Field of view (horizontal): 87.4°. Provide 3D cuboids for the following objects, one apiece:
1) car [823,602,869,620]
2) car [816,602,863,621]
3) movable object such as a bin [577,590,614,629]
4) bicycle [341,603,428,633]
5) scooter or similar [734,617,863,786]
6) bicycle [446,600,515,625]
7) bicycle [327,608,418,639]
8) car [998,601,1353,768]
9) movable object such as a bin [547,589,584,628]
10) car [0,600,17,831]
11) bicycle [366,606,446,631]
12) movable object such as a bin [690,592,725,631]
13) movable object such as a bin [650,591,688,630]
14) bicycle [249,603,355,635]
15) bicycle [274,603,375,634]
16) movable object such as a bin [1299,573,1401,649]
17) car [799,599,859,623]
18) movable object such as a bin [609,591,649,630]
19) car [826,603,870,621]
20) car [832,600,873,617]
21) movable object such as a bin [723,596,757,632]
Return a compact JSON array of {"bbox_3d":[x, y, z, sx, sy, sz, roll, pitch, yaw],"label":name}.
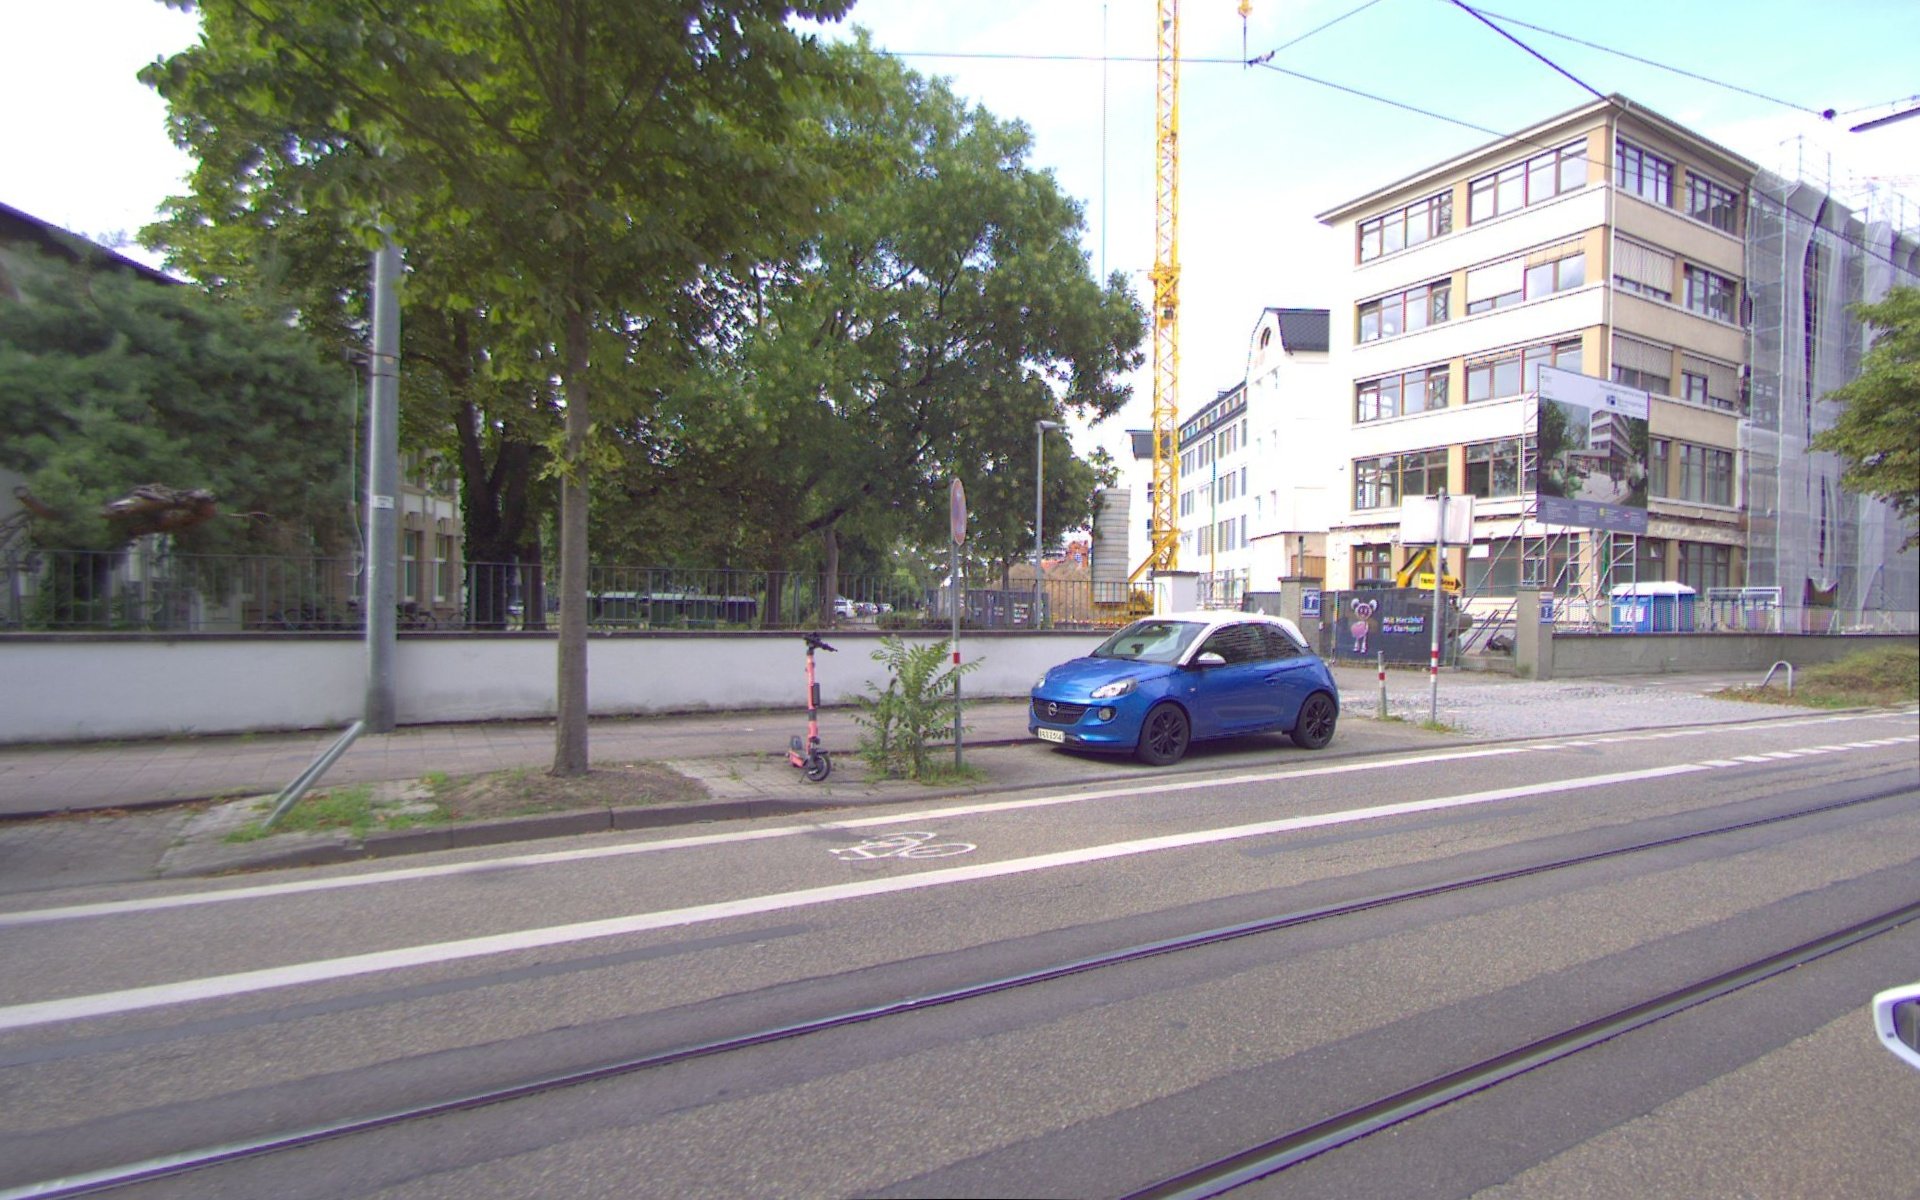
[{"bbox_3d":[-10.148,0.957,89.255,3.928,1.518,1.910,1,0,-10],"label":"car"},{"bbox_3d":[-10.331,0.996,86.042,3.928,1.518,1.910,1,0,-10],"label":"car"},{"bbox_3d":[-13.358,0.339,36.832,1.001,1.393,0.970,1,1,-4],"label":"movable object such as a bin"},{"bbox_3d":[-16.263,0.511,28.417,2.010,0.783,0.713,1,1,-11],"label":"bicycle"},{"bbox_3d":[-1.456,0.832,8.881,0.691,1.362,1.438,1,-1,-28],"label":"scooter or similar"},{"bbox_3d":[-16.406,0.431,34.394,2.010,0.783,0.713,1,1,-11],"label":"bicycle"},{"bbox_3d":[-16.056,0.643,27.481,2.010,0.783,0.713,1,1,-11],"label":"bicycle"},{"bbox_3d":[2.399,0.813,10.996,3.635,1.507,1.684,1,1,-31],"label":"car"},{"bbox_3d":[-14.426,0.317,36.777,1.001,1.393,0.970,1,1,-4],"label":"movable object such as a bin"},{"bbox_3d":[-7.394,0.714,4.862,3.824,1.447,1.684,1,1,-31],"label":"car"},{"bbox_3d":[-16.614,0.545,30.159,2.028,0.718,0.707,1,1,-38],"label":"bicycle"},{"bbox_3d":[-9.296,0.423,36.990,1.073,1.393,0.861,1,1,-4],"label":"movable object such as a bin"},{"bbox_3d":[-10.718,0.393,37.011,1.181,1.393,0.861,1,1,-4],"label":"movable object such as a bin"},{"bbox_3d":[-15.867,0.466,24.259,2.010,0.718,0.713,1,1,-11],"label":"bicycle"},{"bbox_3d":[-15.935,0.453,25.213,2.010,0.718,0.713,1,1,-11],"label":"bicycle"},{"bbox_3d":[11.280,0.307,29.093,1.936,2.095,1.978,1,0,-28],"label":"movable object such as a bin"},{"bbox_3d":[-8.874,0.733,68.040,3.928,1.518,1.910,1,0,-10],"label":"car"},{"bbox_3d":[-12.136,0.365,36.856,1.181,1.393,0.970,1,1,-4],"label":"movable object such as a bin"},{"bbox_3d":[-10.287,1.084,92.065,3.928,1.518,1.910,1,0,-10],"label":"car"},{"bbox_3d":[-10.554,0.823,98.422,3.928,1.518,1.910,1,0,-10],"label":"car"},{"bbox_3d":[-8.057,0.504,36.792,1.073,1.290,0.861,1,1,-4],"label":"movable object such as a bin"}]
